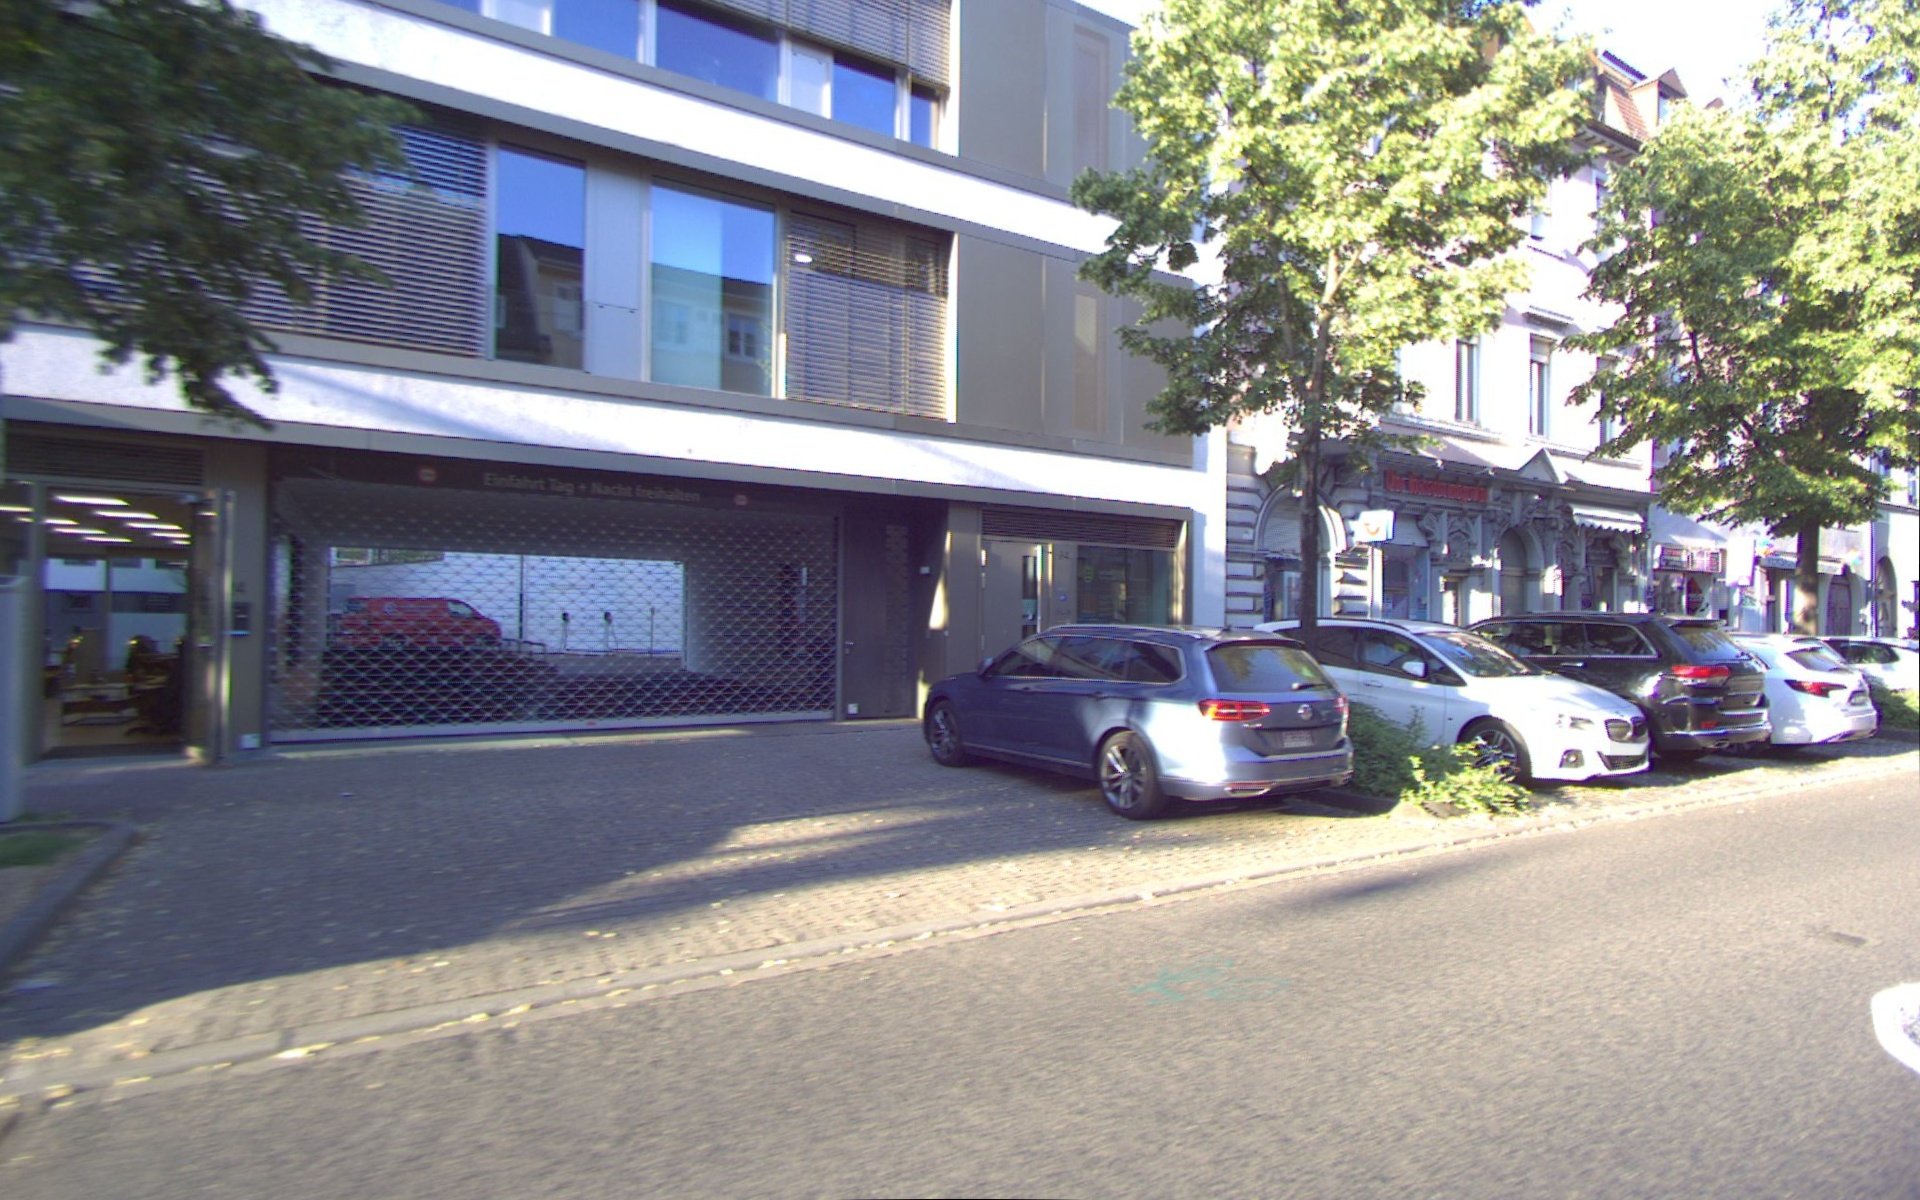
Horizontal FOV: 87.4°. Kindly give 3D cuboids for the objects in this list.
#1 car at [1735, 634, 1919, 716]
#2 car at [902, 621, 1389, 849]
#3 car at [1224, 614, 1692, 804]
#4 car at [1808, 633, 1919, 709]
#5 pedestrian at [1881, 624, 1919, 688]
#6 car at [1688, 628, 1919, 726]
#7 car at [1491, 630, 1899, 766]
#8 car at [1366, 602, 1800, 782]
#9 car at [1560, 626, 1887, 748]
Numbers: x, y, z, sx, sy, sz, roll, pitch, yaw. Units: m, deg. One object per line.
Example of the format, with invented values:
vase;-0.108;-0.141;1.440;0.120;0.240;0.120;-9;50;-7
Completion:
car;17.502;1.394;19.059;1.820;1.422;4.080;1;-2;-28
car;1.355;0.967;9.157;1.726;1.503;4.520;1;-1;-34
car;5.236;0.998;11.202;1.868;1.617;4.383;1;0;-31
car;19.673;1.432;19.857;1.864;1.422;4.083;1;-1;-32
pedestrian;26.501;1.566;28.147;0.865;1.744;0.768;3;-1;-30
car;15.144;1.270;17.402;1.786;1.463;3.717;1;-1;-33
car;9.694;1.180;13.600;1.747;1.440;4.126;1;-1;-32
car;7.362;0.948;12.296;1.869;1.796;4.126;1;-1;-32
car;11.247;1.188;15.020;1.696;1.522;3.538;1;-1;-31
